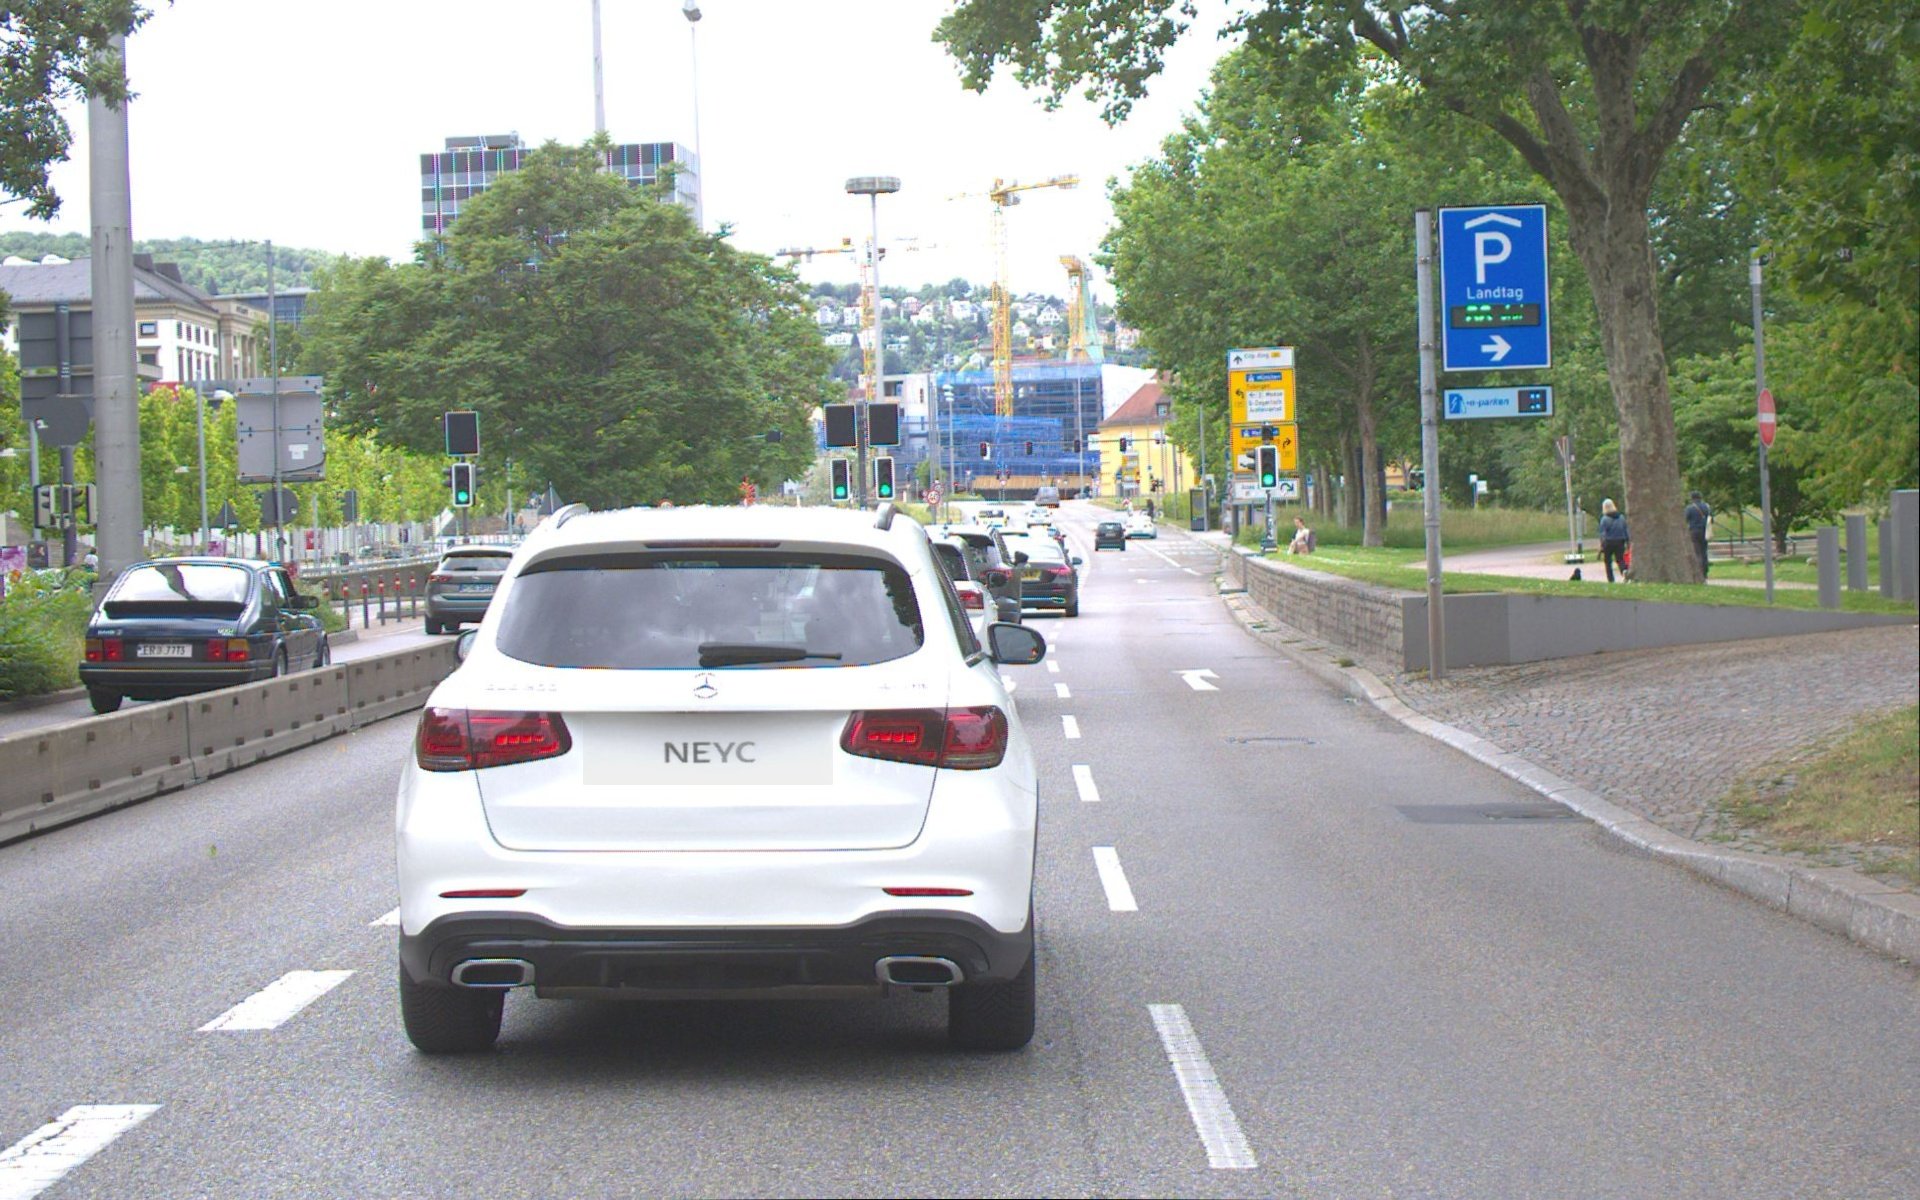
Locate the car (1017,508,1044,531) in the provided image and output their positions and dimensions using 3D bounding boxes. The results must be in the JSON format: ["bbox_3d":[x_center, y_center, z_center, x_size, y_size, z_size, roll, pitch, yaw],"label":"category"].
[{"bbox_3d":[5.006,-5.698,244.423,1.719,1.579,4.000,1,1,-1],"label":"car"}]

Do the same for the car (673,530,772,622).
[{"bbox_3d":[-4.269,-0.464,62.183,1.719,1.579,4.001,1,1,-3],"label":"car"}]

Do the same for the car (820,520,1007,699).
[{"bbox_3d":[-0.398,0.080,33.597,1.672,1.622,4.000,1,0,1],"label":"car"}]

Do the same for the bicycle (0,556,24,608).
[{"bbox_3d":[-32.539,-0.533,112.116,3.613,1.678,1.183,-2,1,0],"label":"bicycle"}]

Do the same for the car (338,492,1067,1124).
[{"bbox_3d":[-0.731,0.544,11.259,1.940,1.678,4.000,1,0,-1],"label":"car"}]

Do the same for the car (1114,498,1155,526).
[{"bbox_3d":[10.671,-5.390,210.781,1.993,1.612,4.001,1,0,-4],"label":"car"}]

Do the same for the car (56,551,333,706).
[{"bbox_3d":[-6.951,0.217,31.586,1.719,1.288,4.000,1,1,-1],"label":"car"}]

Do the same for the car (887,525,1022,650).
[{"bbox_3d":[-0.113,-0.207,46.158,1.719,1.579,4.000,1,1,-1],"label":"car"}]

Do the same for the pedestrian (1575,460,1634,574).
[{"bbox_3d":[11.498,-1.479,61.373,0.856,2.007,0.815,1,0,-1],"label":"pedestrian"}]

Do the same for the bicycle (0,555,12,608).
[{"bbox_3d":[-32.240,-0.534,109.682,3.613,1.678,1.183,-2,1,0],"label":"bicycle"}]

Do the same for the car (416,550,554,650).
[{"bbox_3d":[-7.811,-0.033,56.835,1.753,1.548,4.000,1,1,-1],"label":"car"}]

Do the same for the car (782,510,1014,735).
[{"bbox_3d":[-0.470,0.143,26.842,1.654,1.605,4.000,1,0,-1],"label":"car"}]

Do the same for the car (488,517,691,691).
[{"bbox_3d":[-3.759,-0.002,35.456,1.719,1.673,4.000,1,1,-1],"label":"car"}]

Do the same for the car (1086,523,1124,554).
[{"bbox_3d":[7.496,-3.204,177.972,1.719,1.579,4.000,1,1,-1],"label":"car"}]

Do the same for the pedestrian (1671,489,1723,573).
[{"bbox_3d":[13.383,-1.249,62.420,0.786,1.521,0.683,1,0,1],"label":"pedestrian"}]

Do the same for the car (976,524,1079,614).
[{"bbox_3d":[1.218,-0.598,63.479,1.719,1.579,4.000,1,1,-1],"label":"car"}]

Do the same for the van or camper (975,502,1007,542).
[{"bbox_3d":[1.857,-4.704,208.421,1.922,2.312,4.000,0,0,0],"label":"van or camper"}]

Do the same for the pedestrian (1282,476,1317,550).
[{"bbox_3d":[7.628,-1.946,77.337,0.697,1.650,0.684,1,0,0],"label":"pedestrian"}]
